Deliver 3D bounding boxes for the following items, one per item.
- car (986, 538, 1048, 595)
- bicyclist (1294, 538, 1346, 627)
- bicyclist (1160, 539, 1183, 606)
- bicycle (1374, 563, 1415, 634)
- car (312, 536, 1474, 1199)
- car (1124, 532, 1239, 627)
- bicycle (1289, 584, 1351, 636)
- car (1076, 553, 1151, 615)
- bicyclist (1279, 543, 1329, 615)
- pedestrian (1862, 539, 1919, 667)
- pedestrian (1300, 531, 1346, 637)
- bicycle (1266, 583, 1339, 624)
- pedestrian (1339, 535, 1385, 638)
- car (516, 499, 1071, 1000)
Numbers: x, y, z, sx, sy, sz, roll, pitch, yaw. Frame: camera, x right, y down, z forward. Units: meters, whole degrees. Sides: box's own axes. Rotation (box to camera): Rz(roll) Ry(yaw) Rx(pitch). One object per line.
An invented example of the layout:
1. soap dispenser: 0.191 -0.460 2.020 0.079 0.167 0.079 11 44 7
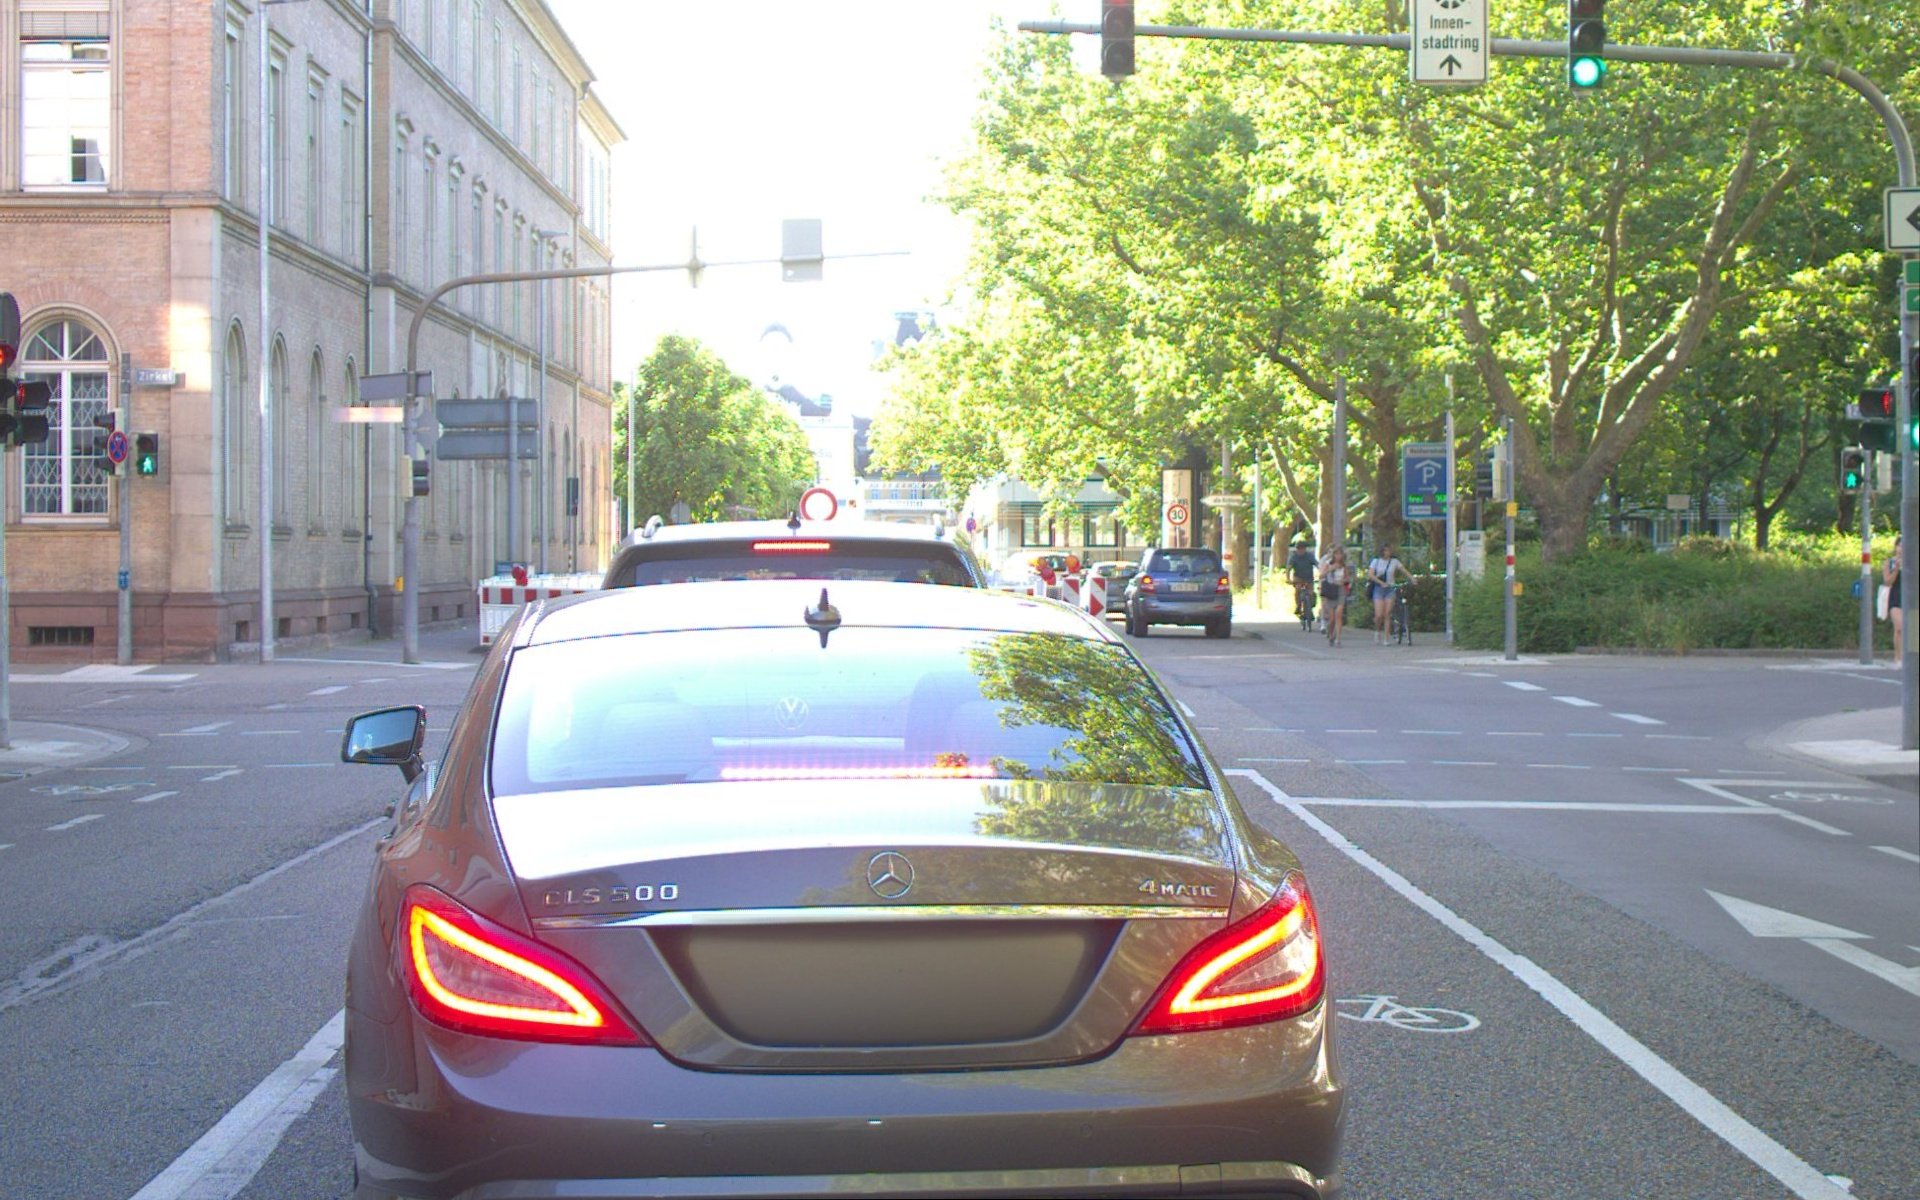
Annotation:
1. car: 1.710 -1.008 104.054 1.731 1.656 3.681 1 1 -1
2. bicyclist: 6.650 -0.324 63.487 0.825 1.612 0.957 1 0 -1
3. bicyclist: 6.448 -0.841 104.961 0.594 2.032 0.566 1 0 -4
4. bicycle: 7.469 -0.034 59.143 0.482 1.198 1.606 1 0 -1
5. car: -0.364 0.627 7.478 1.861 1.514 4.001 0 1 -8
6. car: 4.255 -0.416 66.612 1.861 1.758 4.482 0 1 -1
7. bicycle: 6.640 0.176 63.579 0.828 0.921 2.617 1 1 -1
8. car: 3.920 -0.428 88.418 1.704 1.514 4.000 0 1 -1
9. bicyclist: 6.700 -0.408 66.986 0.734 1.393 0.697 1 0 28
10. pedestrian: 11.587 0.032 42.164 0.635 1.540 0.910 1 0 -15
11. pedestrian: 6.217 -0.273 58.933 0.635 1.791 0.699 1 0 -4
12. bicycle: 6.682 0.063 67.002 0.724 0.788 1.925 1 1 28
13. pedestrian: 6.904 -0.229 59.010 0.635 1.754 0.699 1 0 -4
14. car: -0.585 0.473 13.608 1.861 1.677 4.000 0 1 -1
